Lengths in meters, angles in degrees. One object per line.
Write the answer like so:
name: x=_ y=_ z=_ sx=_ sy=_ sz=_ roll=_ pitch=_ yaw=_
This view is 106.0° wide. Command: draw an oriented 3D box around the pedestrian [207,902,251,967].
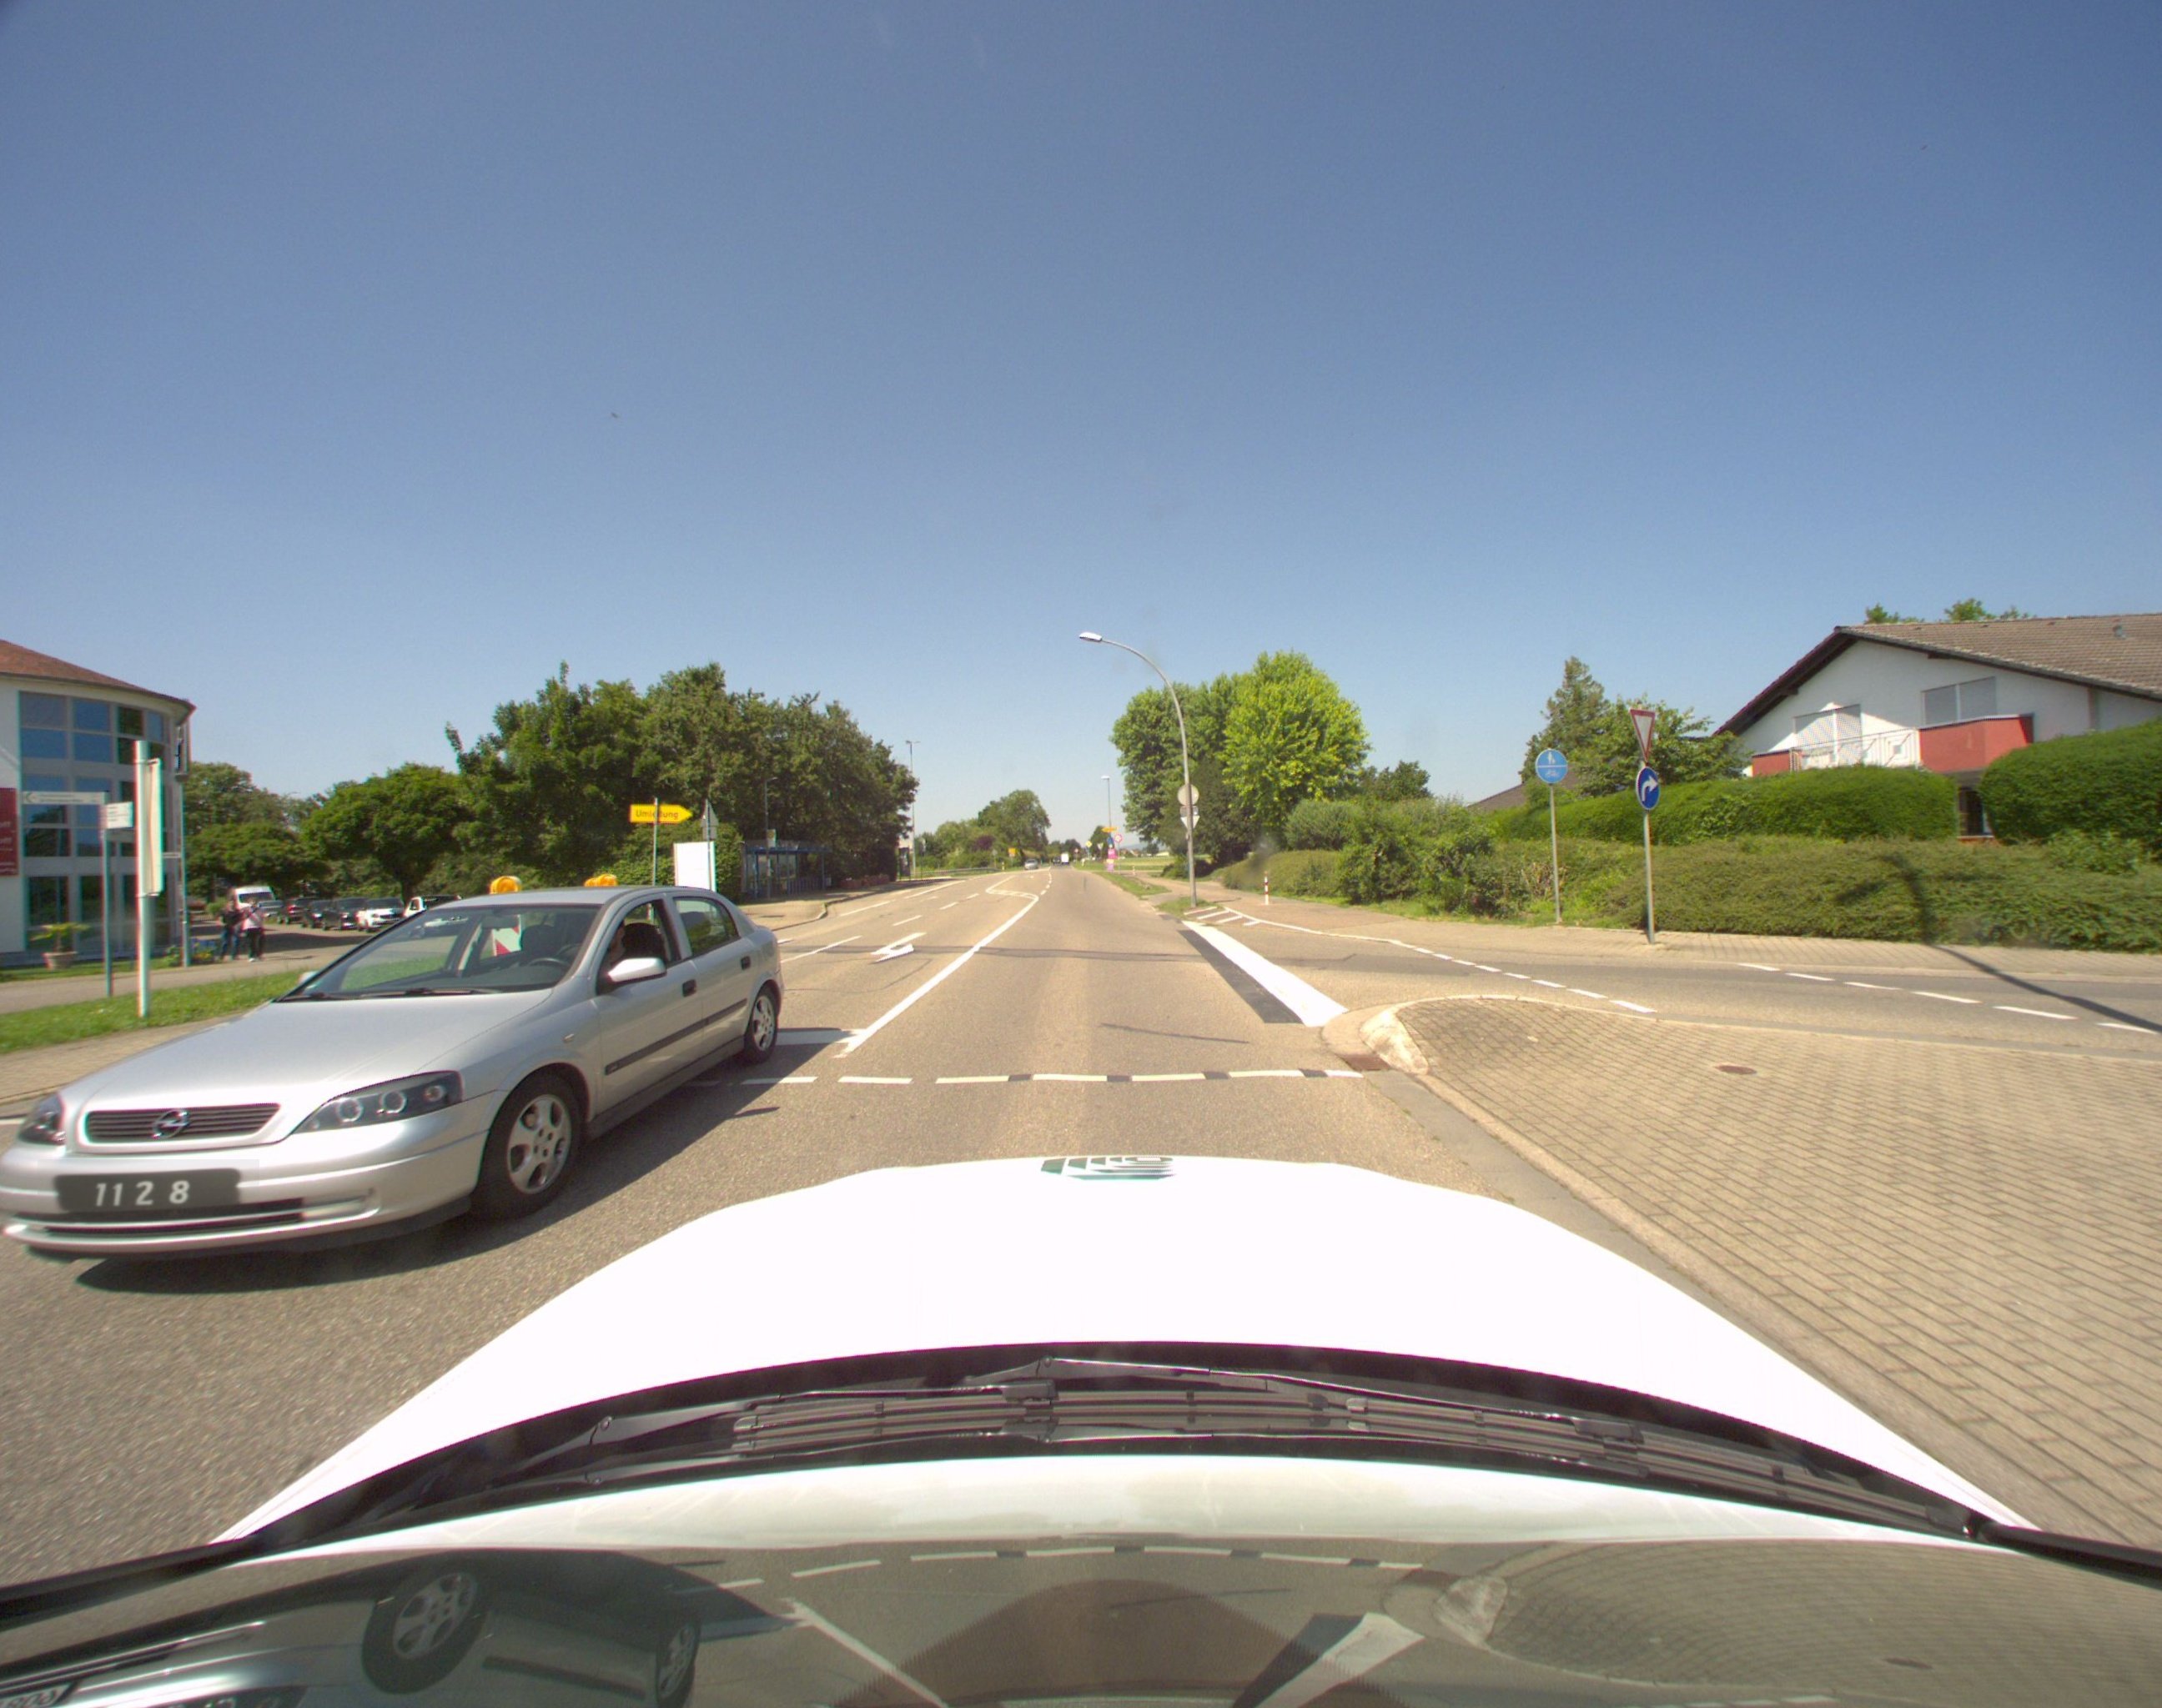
pedestrian: x=-24.802 y=2.321 z=23.705 sx=0.794 sy=1.821 sz=0.714 roll=-3 pitch=-1 yaw=32

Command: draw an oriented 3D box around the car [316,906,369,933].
car: x=-37.536 y=3.295 z=41.369 sx=3.513 sy=1.204 sz=1.462 roll=-3 pitch=0 yaw=39

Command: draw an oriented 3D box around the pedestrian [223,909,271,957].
pedestrian: x=-29.061 y=2.748 z=28.383 sx=0.780 sy=1.566 sz=0.929 roll=-3 pitch=0 yaw=28

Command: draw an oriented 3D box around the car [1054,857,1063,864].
car: x=-6.574 y=1.912 z=238.076 sx=2.141 sy=1.951 sz=5.238 roll=-2 pitch=0 yaw=-5

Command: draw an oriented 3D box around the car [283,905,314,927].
car: x=-48.513 y=3.828 z=50.499 sx=1.310 sy=1.243 sz=2.916 roll=-2 pitch=-1 yaw=-45

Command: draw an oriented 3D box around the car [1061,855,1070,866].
car: x=-4.189 y=1.769 z=215.168 sx=1.991 sy=2.651 sz=3.992 roll=-2 pitch=0 yaw=-5

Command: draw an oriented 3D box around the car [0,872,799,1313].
car: x=-3.227 y=0.873 z=4.810 sx=1.694 sy=1.403 sz=3.979 roll=-2 pitch=0 yaw=0

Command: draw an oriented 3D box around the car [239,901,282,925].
car: x=-57.041 y=4.092 z=56.603 sx=3.455 sy=1.492 sz=1.704 roll=-2 pitch=0 yaw=38

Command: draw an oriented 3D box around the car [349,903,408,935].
car: x=-33.234 y=3.044 z=38.525 sx=3.337 sy=1.348 sz=1.694 roll=-3 pitch=-1 yaw=42

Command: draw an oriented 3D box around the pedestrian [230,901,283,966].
pedestrian: x=-23.363 y=2.238 z=23.091 sx=0.948 sy=1.740 sz=0.821 roll=-3 pitch=-1 yaw=31

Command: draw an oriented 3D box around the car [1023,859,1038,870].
car: x=-7.139 y=1.524 z=115.155 sx=1.630 sy=1.471 sz=4.417 roll=-2 pitch=0 yaw=2

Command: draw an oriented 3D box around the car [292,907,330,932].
car: x=-42.196 y=3.560 z=44.591 sx=2.904 sy=1.228 sz=1.235 roll=-3 pitch=-1 yaw=41

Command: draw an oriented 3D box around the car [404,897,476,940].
car: x=-26.469 y=2.615 z=33.592 sx=3.536 sy=1.568 sz=1.817 roll=-3 pitch=0 yaw=43

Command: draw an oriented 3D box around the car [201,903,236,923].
car: x=-71.997 y=4.892 z=67.947 sx=3.455 sy=1.492 sz=1.704 roll=-3 pitch=-1 yaw=38
